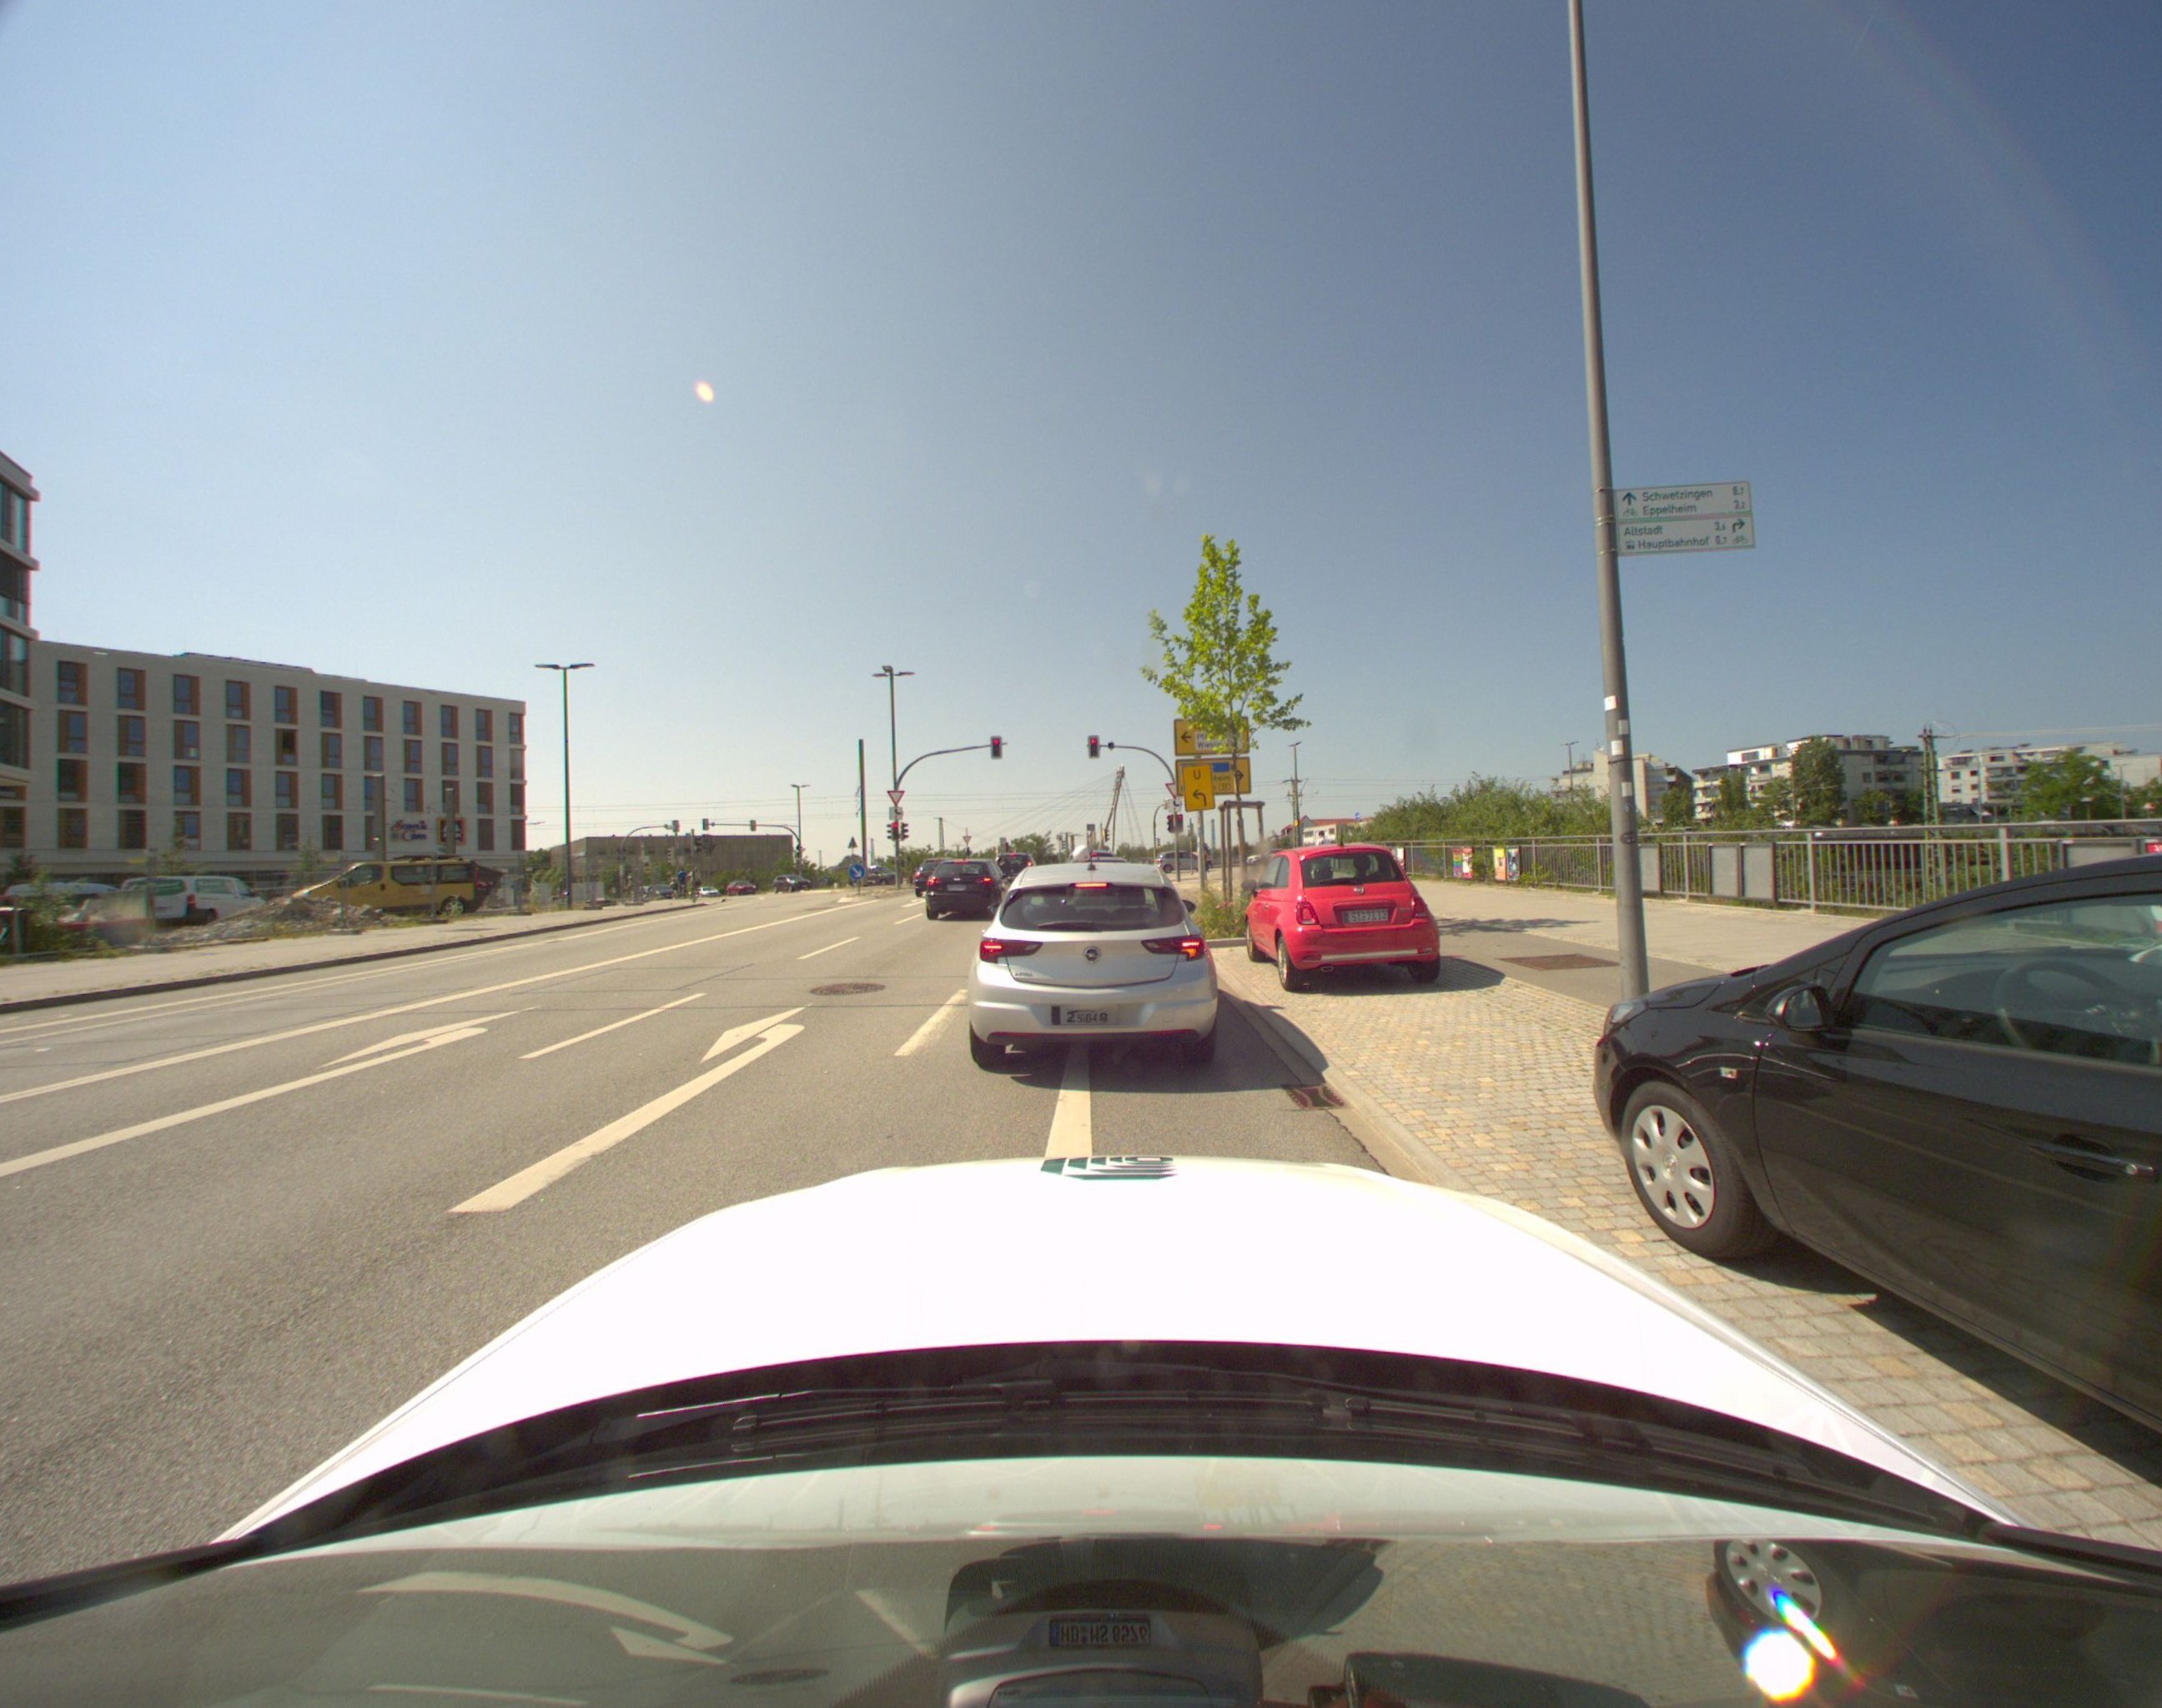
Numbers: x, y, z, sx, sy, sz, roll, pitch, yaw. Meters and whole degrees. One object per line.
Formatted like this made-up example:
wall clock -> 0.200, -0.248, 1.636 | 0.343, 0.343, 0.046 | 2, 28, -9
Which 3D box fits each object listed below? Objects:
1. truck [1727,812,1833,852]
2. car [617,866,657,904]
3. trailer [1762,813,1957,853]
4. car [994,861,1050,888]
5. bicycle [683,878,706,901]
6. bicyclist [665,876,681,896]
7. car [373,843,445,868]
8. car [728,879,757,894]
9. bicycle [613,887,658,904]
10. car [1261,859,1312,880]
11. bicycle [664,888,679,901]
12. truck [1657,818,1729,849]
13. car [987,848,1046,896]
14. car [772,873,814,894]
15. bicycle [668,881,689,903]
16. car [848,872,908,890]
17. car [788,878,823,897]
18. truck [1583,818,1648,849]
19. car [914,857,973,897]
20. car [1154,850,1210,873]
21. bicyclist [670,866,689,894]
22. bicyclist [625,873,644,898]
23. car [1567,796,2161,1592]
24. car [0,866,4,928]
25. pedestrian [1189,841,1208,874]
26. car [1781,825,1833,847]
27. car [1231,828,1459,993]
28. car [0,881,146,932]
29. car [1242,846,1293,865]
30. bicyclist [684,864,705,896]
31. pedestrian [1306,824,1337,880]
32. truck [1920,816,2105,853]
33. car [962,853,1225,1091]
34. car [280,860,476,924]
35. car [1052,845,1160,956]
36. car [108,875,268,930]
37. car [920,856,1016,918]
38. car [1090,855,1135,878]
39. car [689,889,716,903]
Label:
truck -> 59.054, -1.778, 68.894 | 6.478, 3.204, 3.721 | 0, -1, -14
car -> -24.351, 1.655, 44.602 | 1.681, 2.014, 3.959 | 1, -1, -32
trailer -> 68.076, -1.773, 71.177 | 17.225, 3.204, 3.723 | 0, -1, -14
car -> -4.569, 1.554, 63.324 | 3.965, 2.014, 2.004 | -1, -1, 7
bicycle -> -19.525, 1.779, 41.162 | 0.680, 1.127, 2.340 | 1, -1, -35
bicyclist -> -24.758, 1.930, 49.387 | 0.734, 1.175, 0.651 | -1, -2, -37
car -> -54.278, 0.157, 65.879 | 3.990, 2.014, 1.991 | 0, -1, -12
car -> -33.642, 3.225, 80.878 | 1.692, 1.455, 3.954 | 1, -1, -38
bicycle -> -27.701, 2.570, 50.618 | 2.494, 1.007, 0.605 | -2, -3, 3
car -> 16.296, 1.191, 64.719 | 3.506, 1.641, 1.795 | 0, -1, -9
bicycle -> -24.826, 2.434, 49.317 | 0.518, 0.692, 2.229 | -1, -1, -34
truck -> 57.882, -1.918, 77.096 | 5.858, 2.884, 2.109 | 0, -1, -12
car -> -2.430, 0.702, 31.640 | 1.797, 1.622, 3.917 | -4, -1, 1
car -> -25.782, 2.601, 72.754 | 4.158, 1.741, 1.728 | -1, -1, 42
bicycle -> -22.624, 2.103, 45.738 | 0.731, 1.134, 2.506 | -7, 2, -32
car -> -16.707, 2.227, 67.172 | 4.433, 1.455, 2.010 | -1, -1, 20
car -> -30.884, 3.733, 91.254 | 3.949, 2.014, 2.012 | -2, -1, 41
truck -> 46.225, -1.770, 70.483 | 4.699, 2.541, 1.991 | 0, -1, -14
car -> -5.215, 0.865, 31.158 | 1.581, 1.395, 3.340 | -1, -1, 1
car -> 7.336, 0.574, 59.621 | 3.808, 1.629, 1.854 | 0, -1, -4
bicyclist -> -22.578, 1.464, 45.762 | 0.866, 1.560, 0.816 | 1, -1, -32
bicyclist -> -27.720, 1.953, 50.556 | 0.654, 1.502, 0.844 | 0, -1, 3
car -> 2.891, 0.640, 1.717 | 1.576, 1.555, 3.548 | -4, 0, 1
car -> -36.214, 1.397, 25.000 | 2.220, 2.056, 4.133 | 0, -1, -28
pedestrian -> 6.726, 0.192, 46.694 | 0.746, 1.863, 0.745 | 1, -2, -41
car -> 72.497, -1.773, 81.344 | 3.993, 2.014, 1.990 | 0, -1, -14
car -> 2.977, 0.537, 10.046 | 1.662, 1.539, 3.920 | -3, 1, 3
car -> -33.714, 1.680, 27.244 | 1.809, 1.508, 3.965 | 0, -1, -27
car -> 17.618, 0.159, 76.928 | 4.254, 1.673, 1.989 | -1, -1, -16
bicyclist -> -19.504, 1.299, 41.118 | 0.826, 1.569, 0.938 | 1, -1, -34
pedestrian -> 7.874, -0.058, 26.669 | 0.755, 1.830, 0.885 | 0, -1, 1
truck -> 87.318, -1.746, 76.302 | 17.857, 3.204, 3.723 | 0, -1, -14
car -> 0.129, 0.777, 7.425 | 1.685, 1.520, 4.271 | -1, 0, 1
car -> -22.681, 1.146, 26.428 | 1.974, 1.890, 4.514 | -1, -1, 40
car -> 0.419, 0.737, 14.203 | 1.629, 1.674, 3.745 | 0, -1, 1
car -> -31.074, 1.622, 28.572 | 2.003, 1.707, 4.526 | 0, -1, -23
car -> -2.722, 0.781, 20.421 | 1.699, 1.412, 4.001 | 0, -1, 2
car -> 2.961, 1.209, 76.910 | 3.978, 2.014, 1.998 | -2, -1, -3
car -> -41.189, 4.546, 88.659 | 1.781, 1.333, 3.671 | 1, -1, -40
